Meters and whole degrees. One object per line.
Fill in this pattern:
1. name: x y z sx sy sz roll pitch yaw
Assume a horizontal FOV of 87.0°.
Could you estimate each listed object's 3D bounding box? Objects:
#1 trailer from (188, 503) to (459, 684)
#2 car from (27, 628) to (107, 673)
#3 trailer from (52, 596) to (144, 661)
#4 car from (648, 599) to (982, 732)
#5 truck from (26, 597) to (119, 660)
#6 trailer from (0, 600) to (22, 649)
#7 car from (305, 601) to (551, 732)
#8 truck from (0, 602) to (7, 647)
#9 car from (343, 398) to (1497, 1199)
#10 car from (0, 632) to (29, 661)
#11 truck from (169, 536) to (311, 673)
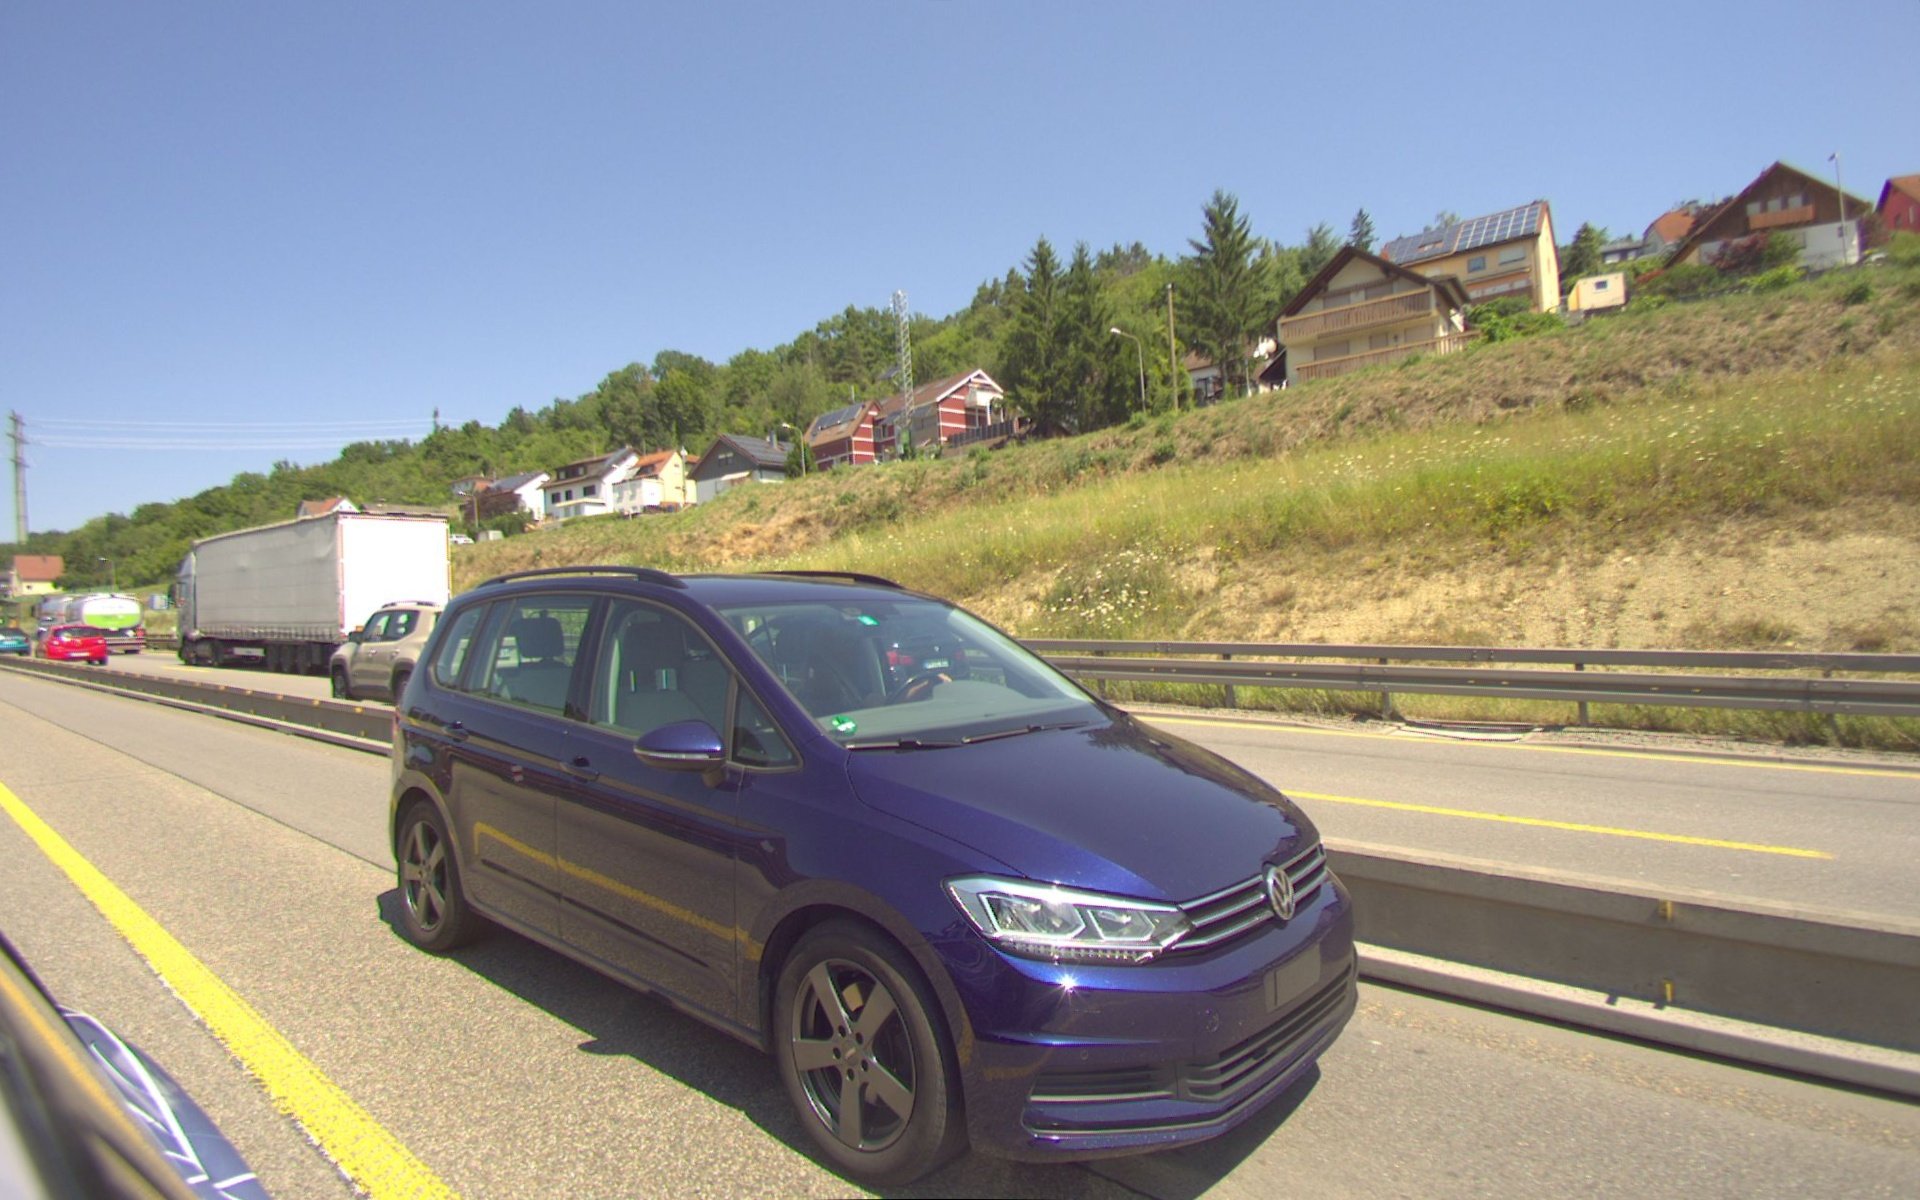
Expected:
1. trailer: -18.812 -0.002 29.148 13.972 4.213 2.757 -2 -1 41
2. car: -31.873 1.760 36.075 3.998 1.477 1.652 -2 -1 41
3. trailer: -42.882 1.411 50.291 6.367 3.023 2.585 -2 -1 41
4. car: -2.145 0.793 14.041 4.716 1.518 1.973 -1 0 41
5. truck: -48.667 1.542 55.391 8.955 3.166 2.698 -2 -1 41
6. trailer: -82.147 2.125 85.687 10.521 3.968 2.882 -2 -1 41
7. car: -8.054 0.880 15.141 4.412 1.679 1.813 -1 -1 41
8. truck: -86.679 2.232 89.673 4.176 3.968 2.864 -2 -1 41
9. car: -0.671 0.571 4.033 4.650 1.731 1.757 -3 -1 42
10. car: -47.949 2.329 50.595 3.903 1.405 1.648 -2 -1 41
11. truck: -24.122 0.181 33.828 5.286 4.213 2.717 -2 -1 41
